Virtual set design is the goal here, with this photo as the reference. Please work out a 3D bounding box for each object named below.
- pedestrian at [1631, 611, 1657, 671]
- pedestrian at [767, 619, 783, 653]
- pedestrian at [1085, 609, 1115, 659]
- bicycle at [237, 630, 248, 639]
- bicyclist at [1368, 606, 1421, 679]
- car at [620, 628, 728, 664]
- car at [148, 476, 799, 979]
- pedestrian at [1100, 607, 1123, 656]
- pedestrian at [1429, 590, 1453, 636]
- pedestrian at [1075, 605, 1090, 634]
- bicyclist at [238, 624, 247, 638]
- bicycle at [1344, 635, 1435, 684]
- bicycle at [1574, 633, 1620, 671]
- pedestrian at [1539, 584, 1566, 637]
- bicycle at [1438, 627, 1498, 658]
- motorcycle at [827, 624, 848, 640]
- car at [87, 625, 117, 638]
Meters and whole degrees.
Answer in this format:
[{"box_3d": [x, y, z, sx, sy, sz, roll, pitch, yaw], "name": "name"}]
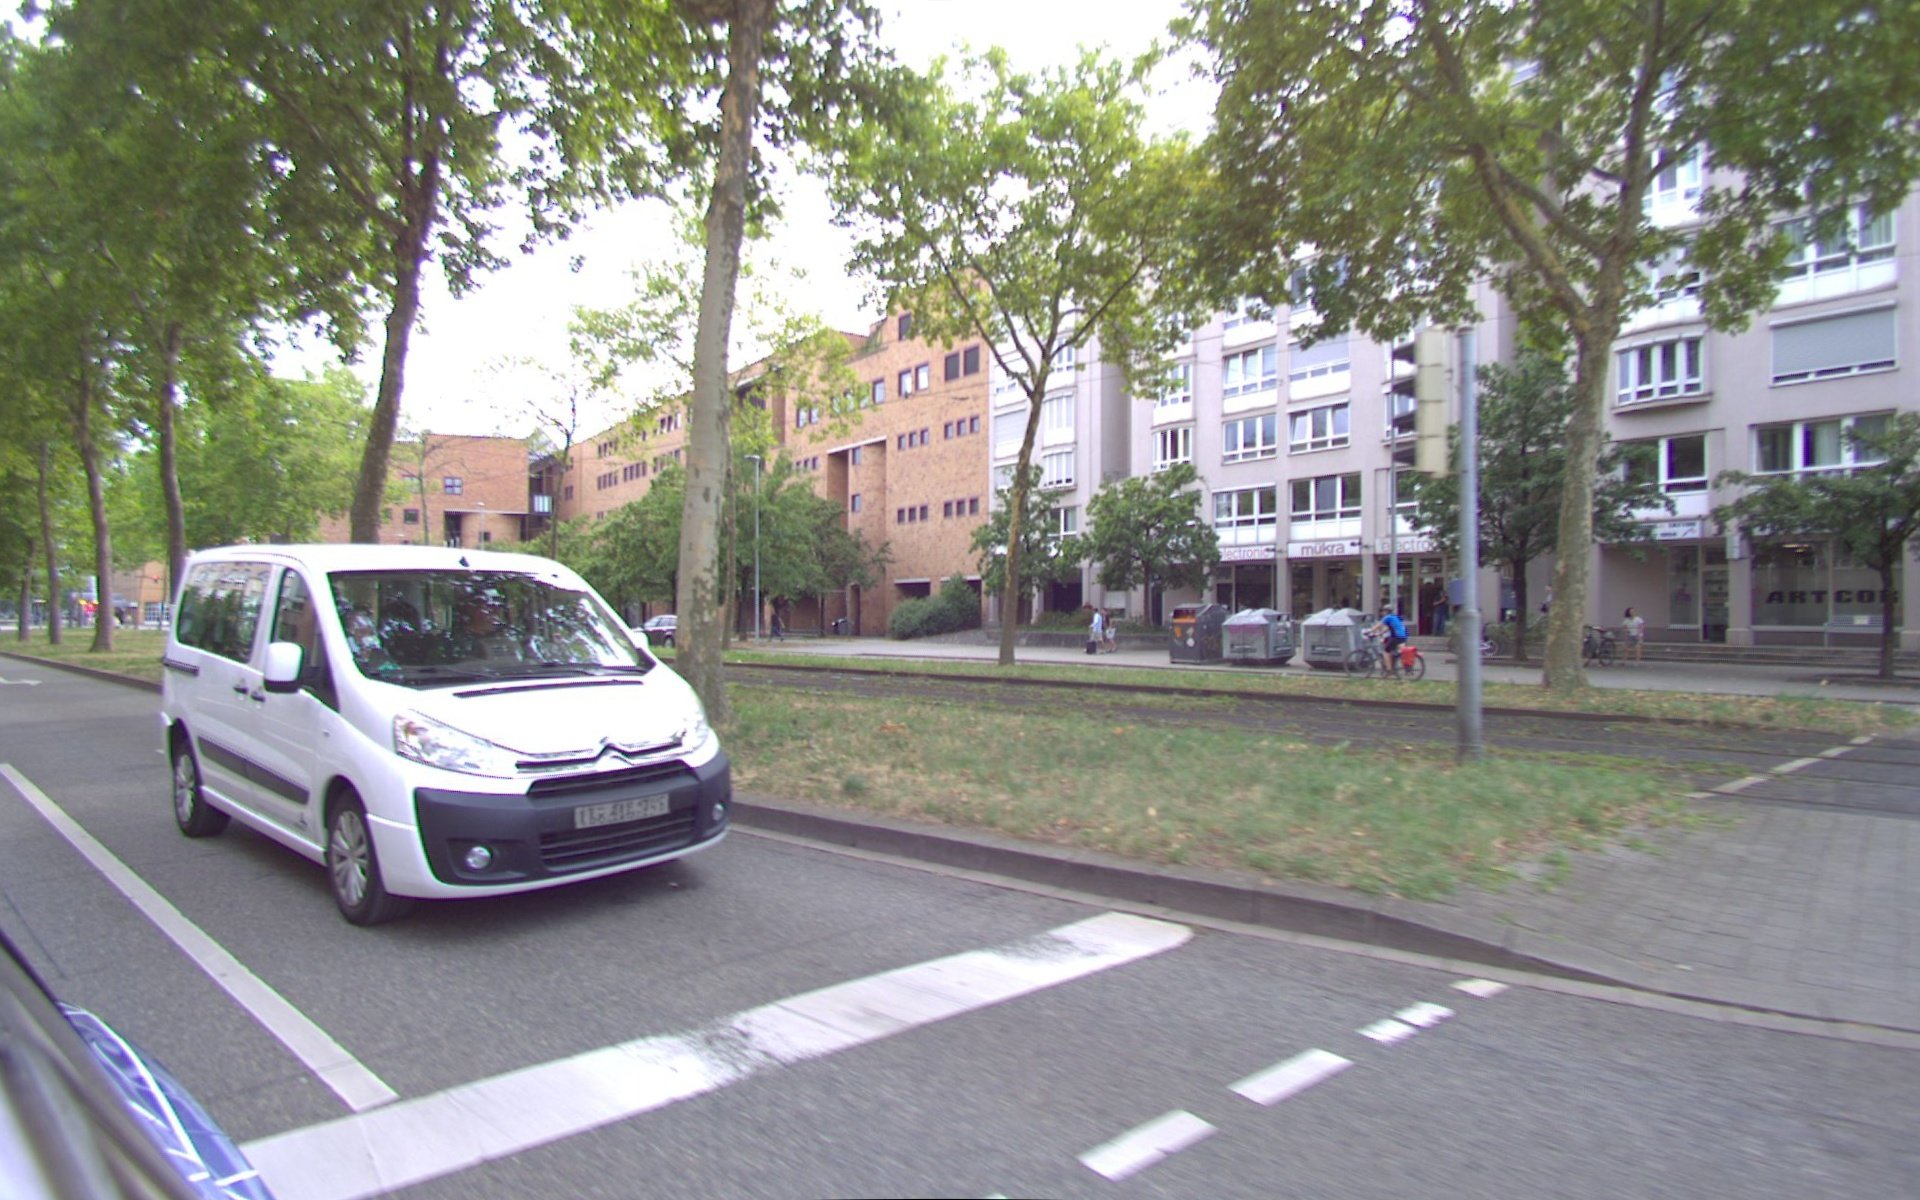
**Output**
[{"box_3d": [17.738, 1.049, 26.252, 0.513, 1.542, 0.528, -1, -1, 30], "name": "pedestrian"}, {"box_3d": [-9.441, 1.845, 51.593, 0.546, 1.718, 0.627, 1, -2, -44], "name": "pedestrian"}, {"box_3d": [4.931, 1.201, 35.744, 0.546, 1.718, 0.885, 1, -2, -44], "name": "pedestrian"}, {"box_3d": [-87.267, 4.170, 123.066, 2.094, 1.092, 0.660, -2, -2, 45], "name": "bicycle"}, {"box_3d": [10.317, 1.002, 24.032, 0.682, 1.685, 0.954, 1, -2, -45], "name": "bicyclist"}, {"box_3d": [-10.746, 1.670, 37.881, 4.532, 1.254, 1.711, -1, -1, 41], "name": "car"}, {"box_3d": [-3.320, 0.556, 6.293, 4.954, 1.940, 1.911, -2, -2, 42], "name": "car"}, {"box_3d": [5.424, 1.117, 36.210, 0.546, 1.718, 0.627, 1, -2, -44], "name": "pedestrian"}, {"box_3d": [16.858, 0.458, 35.480, 0.562, 1.571, 0.550, 1, -1, -36], "name": "pedestrian"}, {"box_3d": [5.700, 0.918, 47.113, 0.451, 1.333, 0.555, 1, -2, -37], "name": "pedestrian"}, {"box_3d": [-87.255, 3.767, 123.057, 0.984, 1.603, 0.656, -2, -2, 45], "name": "bicyclist"}, {"box_3d": [10.215, 1.400, 24.127, 0.683, 1.100, 1.878, 1, -2, -44], "name": "bicycle"}, {"box_3d": [16.524, 1.333, 26.236, 1.606, 0.950, 0.441, 1, -1, -36], "name": "bicycle"}, {"box_3d": [18.326, 0.324, 31.322, 0.563, 1.618, 0.549, 1, -2, -39], "name": "pedestrian"}, {"box_3d": [15.920, 1.318, 31.742, 0.433, 0.950, 1.635, 1, -1, -40], "name": "bicycle"}, {"box_3d": [-8.087, 2.138, 67.020, 0.365, 1.031, 1.566, -1, -1, 39], "name": "motorcycle"}, {"box_3d": [-93.568, 3.415, 110.394, 4.655, 1.432, 1.765, -2, -2, 40], "name": "car"}]
